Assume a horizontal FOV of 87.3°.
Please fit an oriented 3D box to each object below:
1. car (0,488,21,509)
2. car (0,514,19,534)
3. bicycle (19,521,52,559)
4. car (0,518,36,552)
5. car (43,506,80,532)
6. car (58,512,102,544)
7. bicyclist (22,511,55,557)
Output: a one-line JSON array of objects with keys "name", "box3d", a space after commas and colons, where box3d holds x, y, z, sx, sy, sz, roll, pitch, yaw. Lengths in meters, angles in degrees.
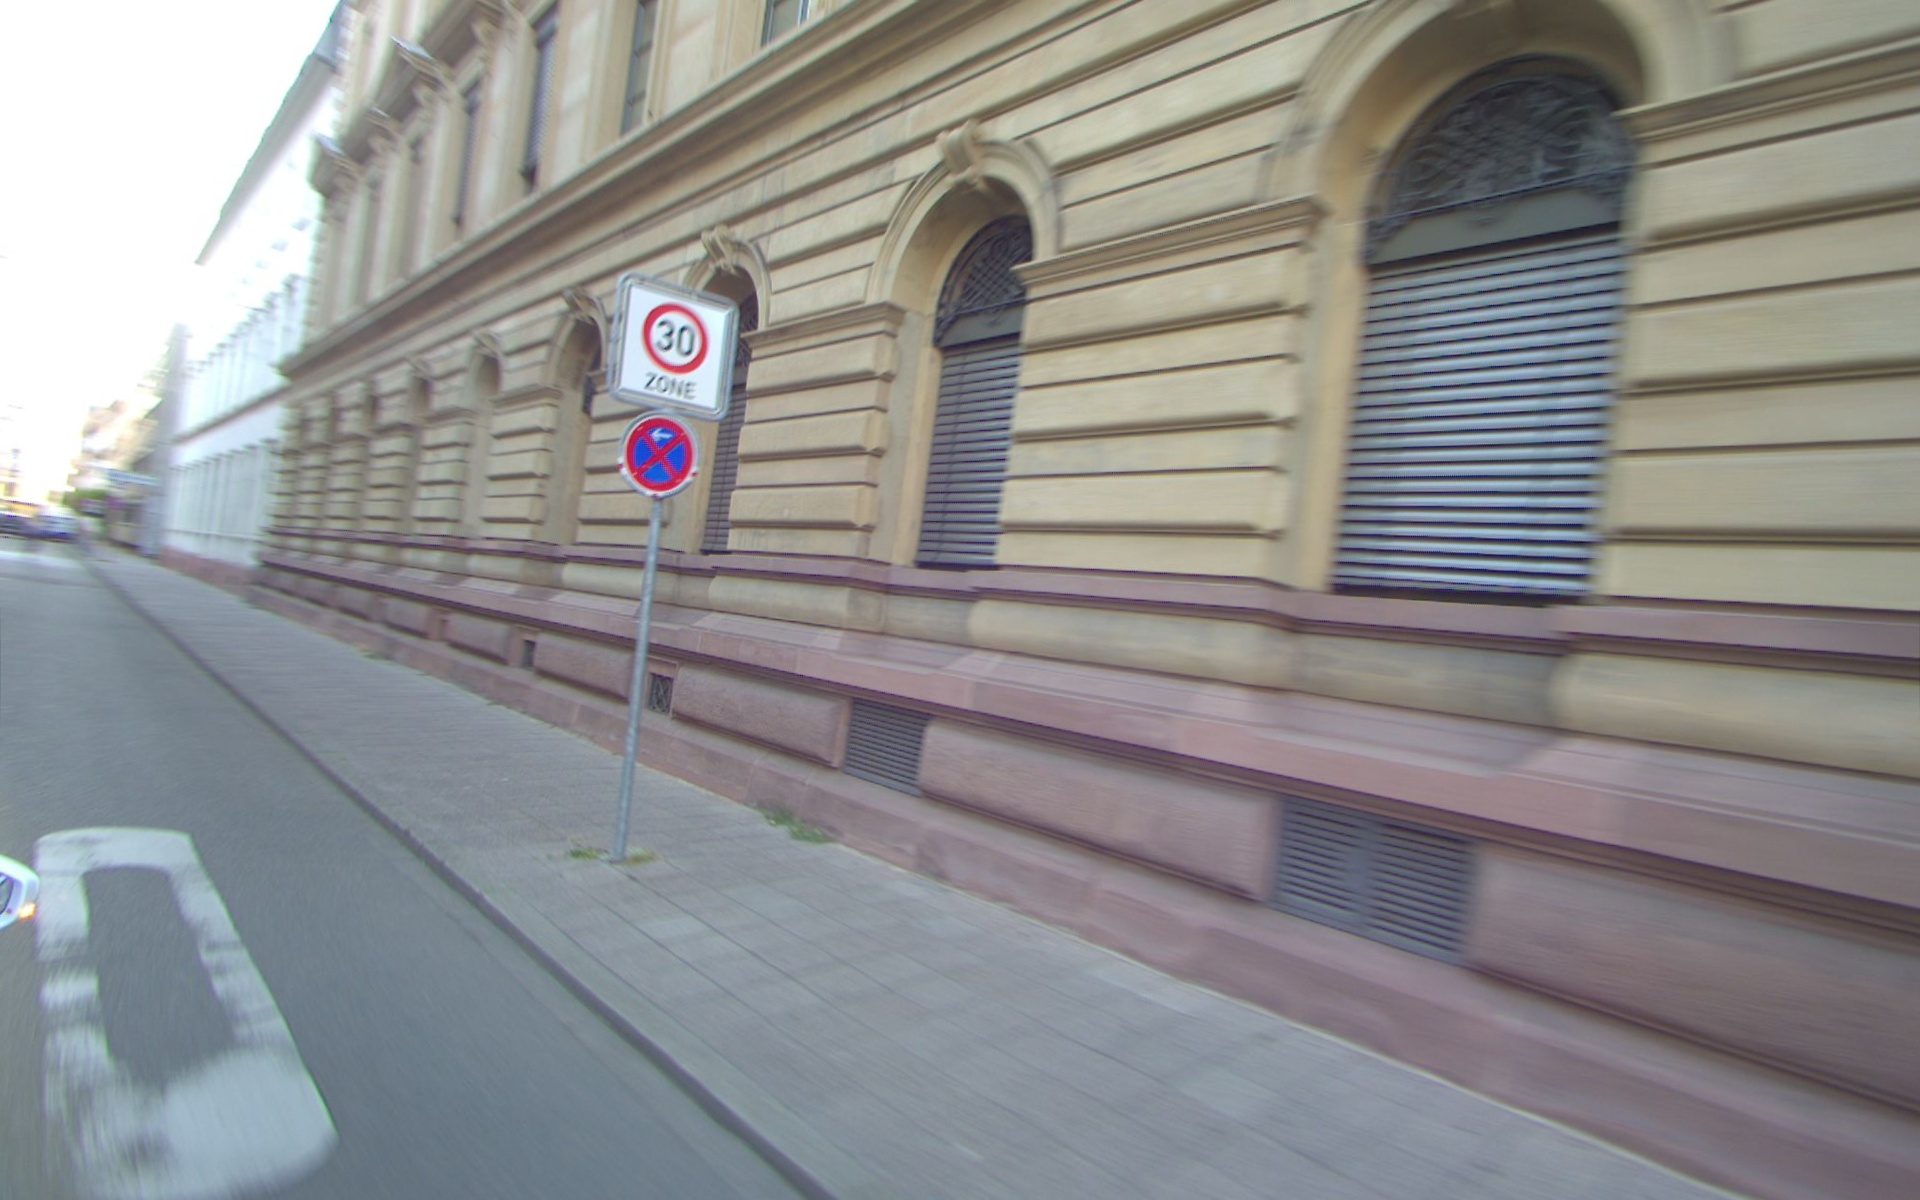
[{"name": "car", "box3d": [-94.690, -10.114, 98.336, 1.988, 1.790, 3.983, 6, -3, 42]}, {"name": "car", "box3d": [-115.635, -9.241, 121.909, 1.988, 2.035, 3.954, 10, -4, -42]}, {"name": "bicycle", "box3d": [-35.158, -2.295, 38.272, 0.791, 1.292, 2.548, 8, -2, -42]}, {"name": "car", "box3d": [-62.365, -4.333, 66.167, 3.948, 1.926, 1.990, 6, -2, 44]}, {"name": "car", "box3d": [-78.454, -7.051, 87.799, 4.118, 1.908, 1.990, 6, -2, 44]}, {"name": "car", "box3d": [-64.847, -5.302, 74.118, 3.948, 2.015, 1.990, 6, -2, 44]}, {"name": "bicyclist", "box3d": [-35.140, -2.520, 38.370, 0.786, 1.602, 1.000, 8, -1, -42]}]
